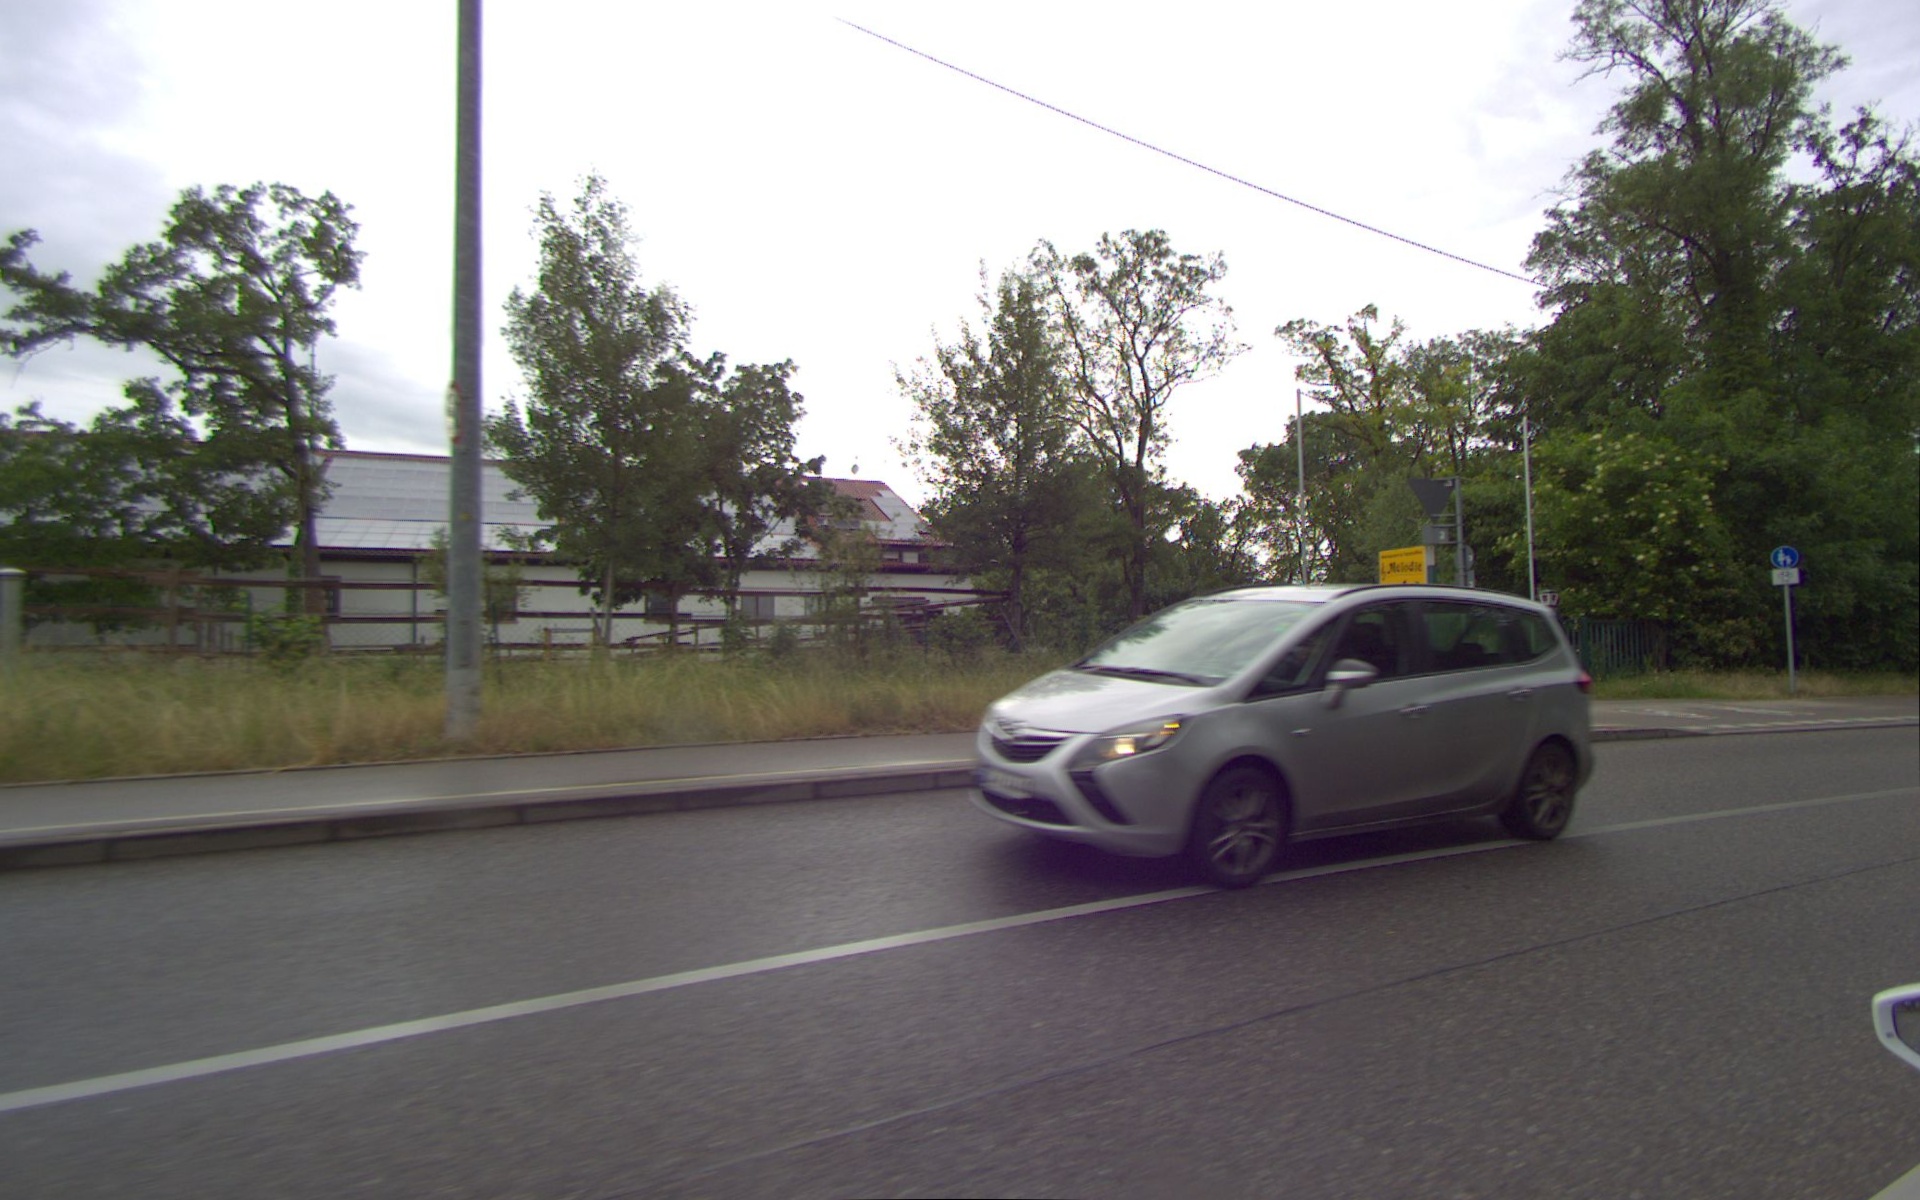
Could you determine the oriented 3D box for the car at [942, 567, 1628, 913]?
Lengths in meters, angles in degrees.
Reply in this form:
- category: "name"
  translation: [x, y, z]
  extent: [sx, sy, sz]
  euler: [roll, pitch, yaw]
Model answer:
- category: "car"
  translation: [2.221, 0.704, 6.581]
  extent: [4.363, 1.636, 1.751]
  euler: [1, 0, -29]
